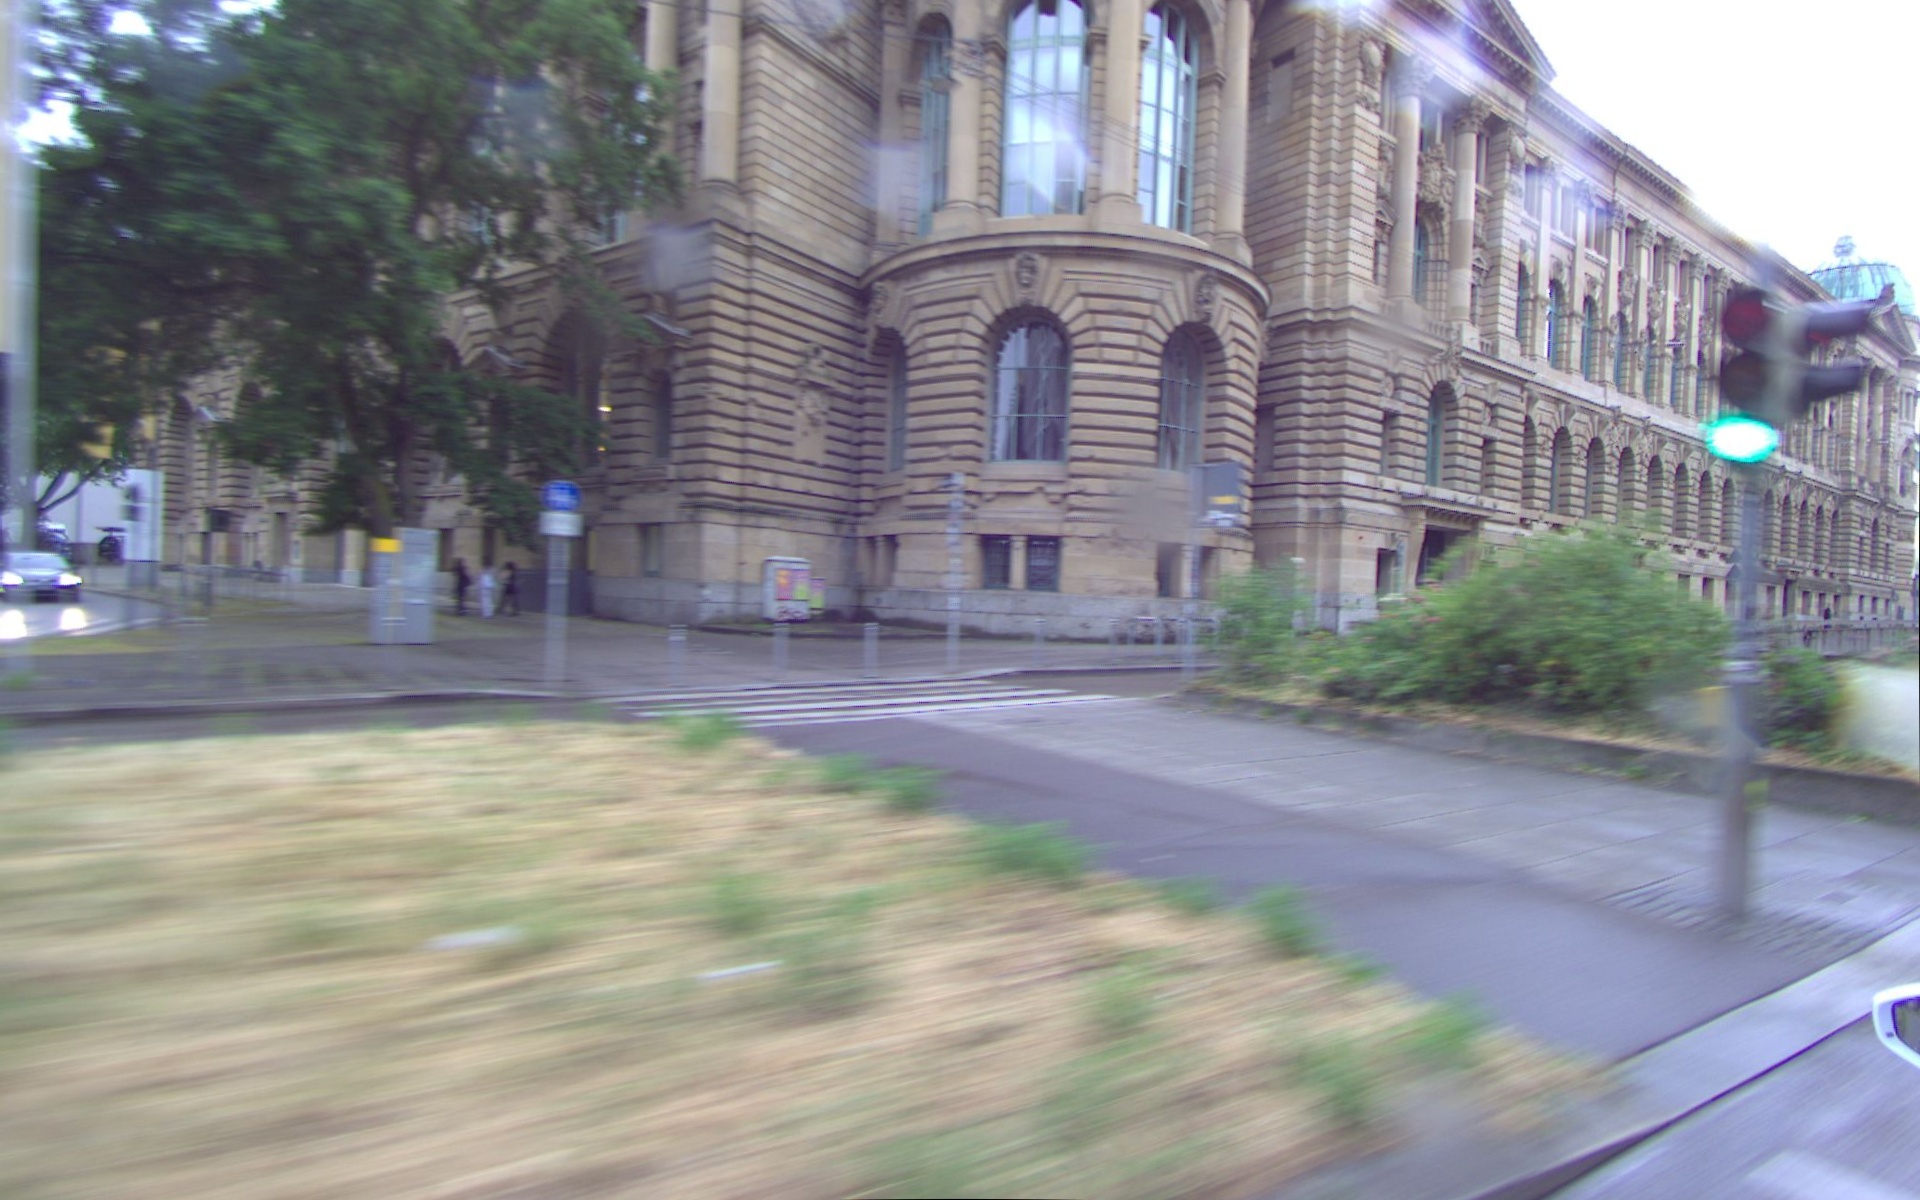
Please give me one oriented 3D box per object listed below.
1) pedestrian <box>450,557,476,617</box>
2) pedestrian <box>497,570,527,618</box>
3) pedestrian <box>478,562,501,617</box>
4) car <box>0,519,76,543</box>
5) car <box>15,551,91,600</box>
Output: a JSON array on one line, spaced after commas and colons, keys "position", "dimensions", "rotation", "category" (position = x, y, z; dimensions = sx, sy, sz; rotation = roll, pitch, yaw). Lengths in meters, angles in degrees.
[{"position": [-13.778, -0.356, 27.853], "dimensions": [0.380, 1.645, 0.497], "rotation": [2, 1, 35], "category": "pedestrian"}, {"position": [-12.993, -0.181, 29.106], "dimensions": [0.434, 1.363, 0.642], "rotation": [2, 1, 35], "category": "pedestrian"}, {"position": [-13.347, -0.305, 28.496], "dimensions": [0.380, 1.549, 0.440], "rotation": [2, 1, 35], "category": "pedestrian"}, {"position": [-84.938, -6.359, 92.365], "dimensions": [6.165, 1.983, 2.315], "rotation": [2, 1, 12], "category": "car"}, {"position": [-28.213, -0.771, 31.200], "dimensions": [1.609, 1.422, 3.574], "rotation": [1, 1, -44], "category": "car"}]
